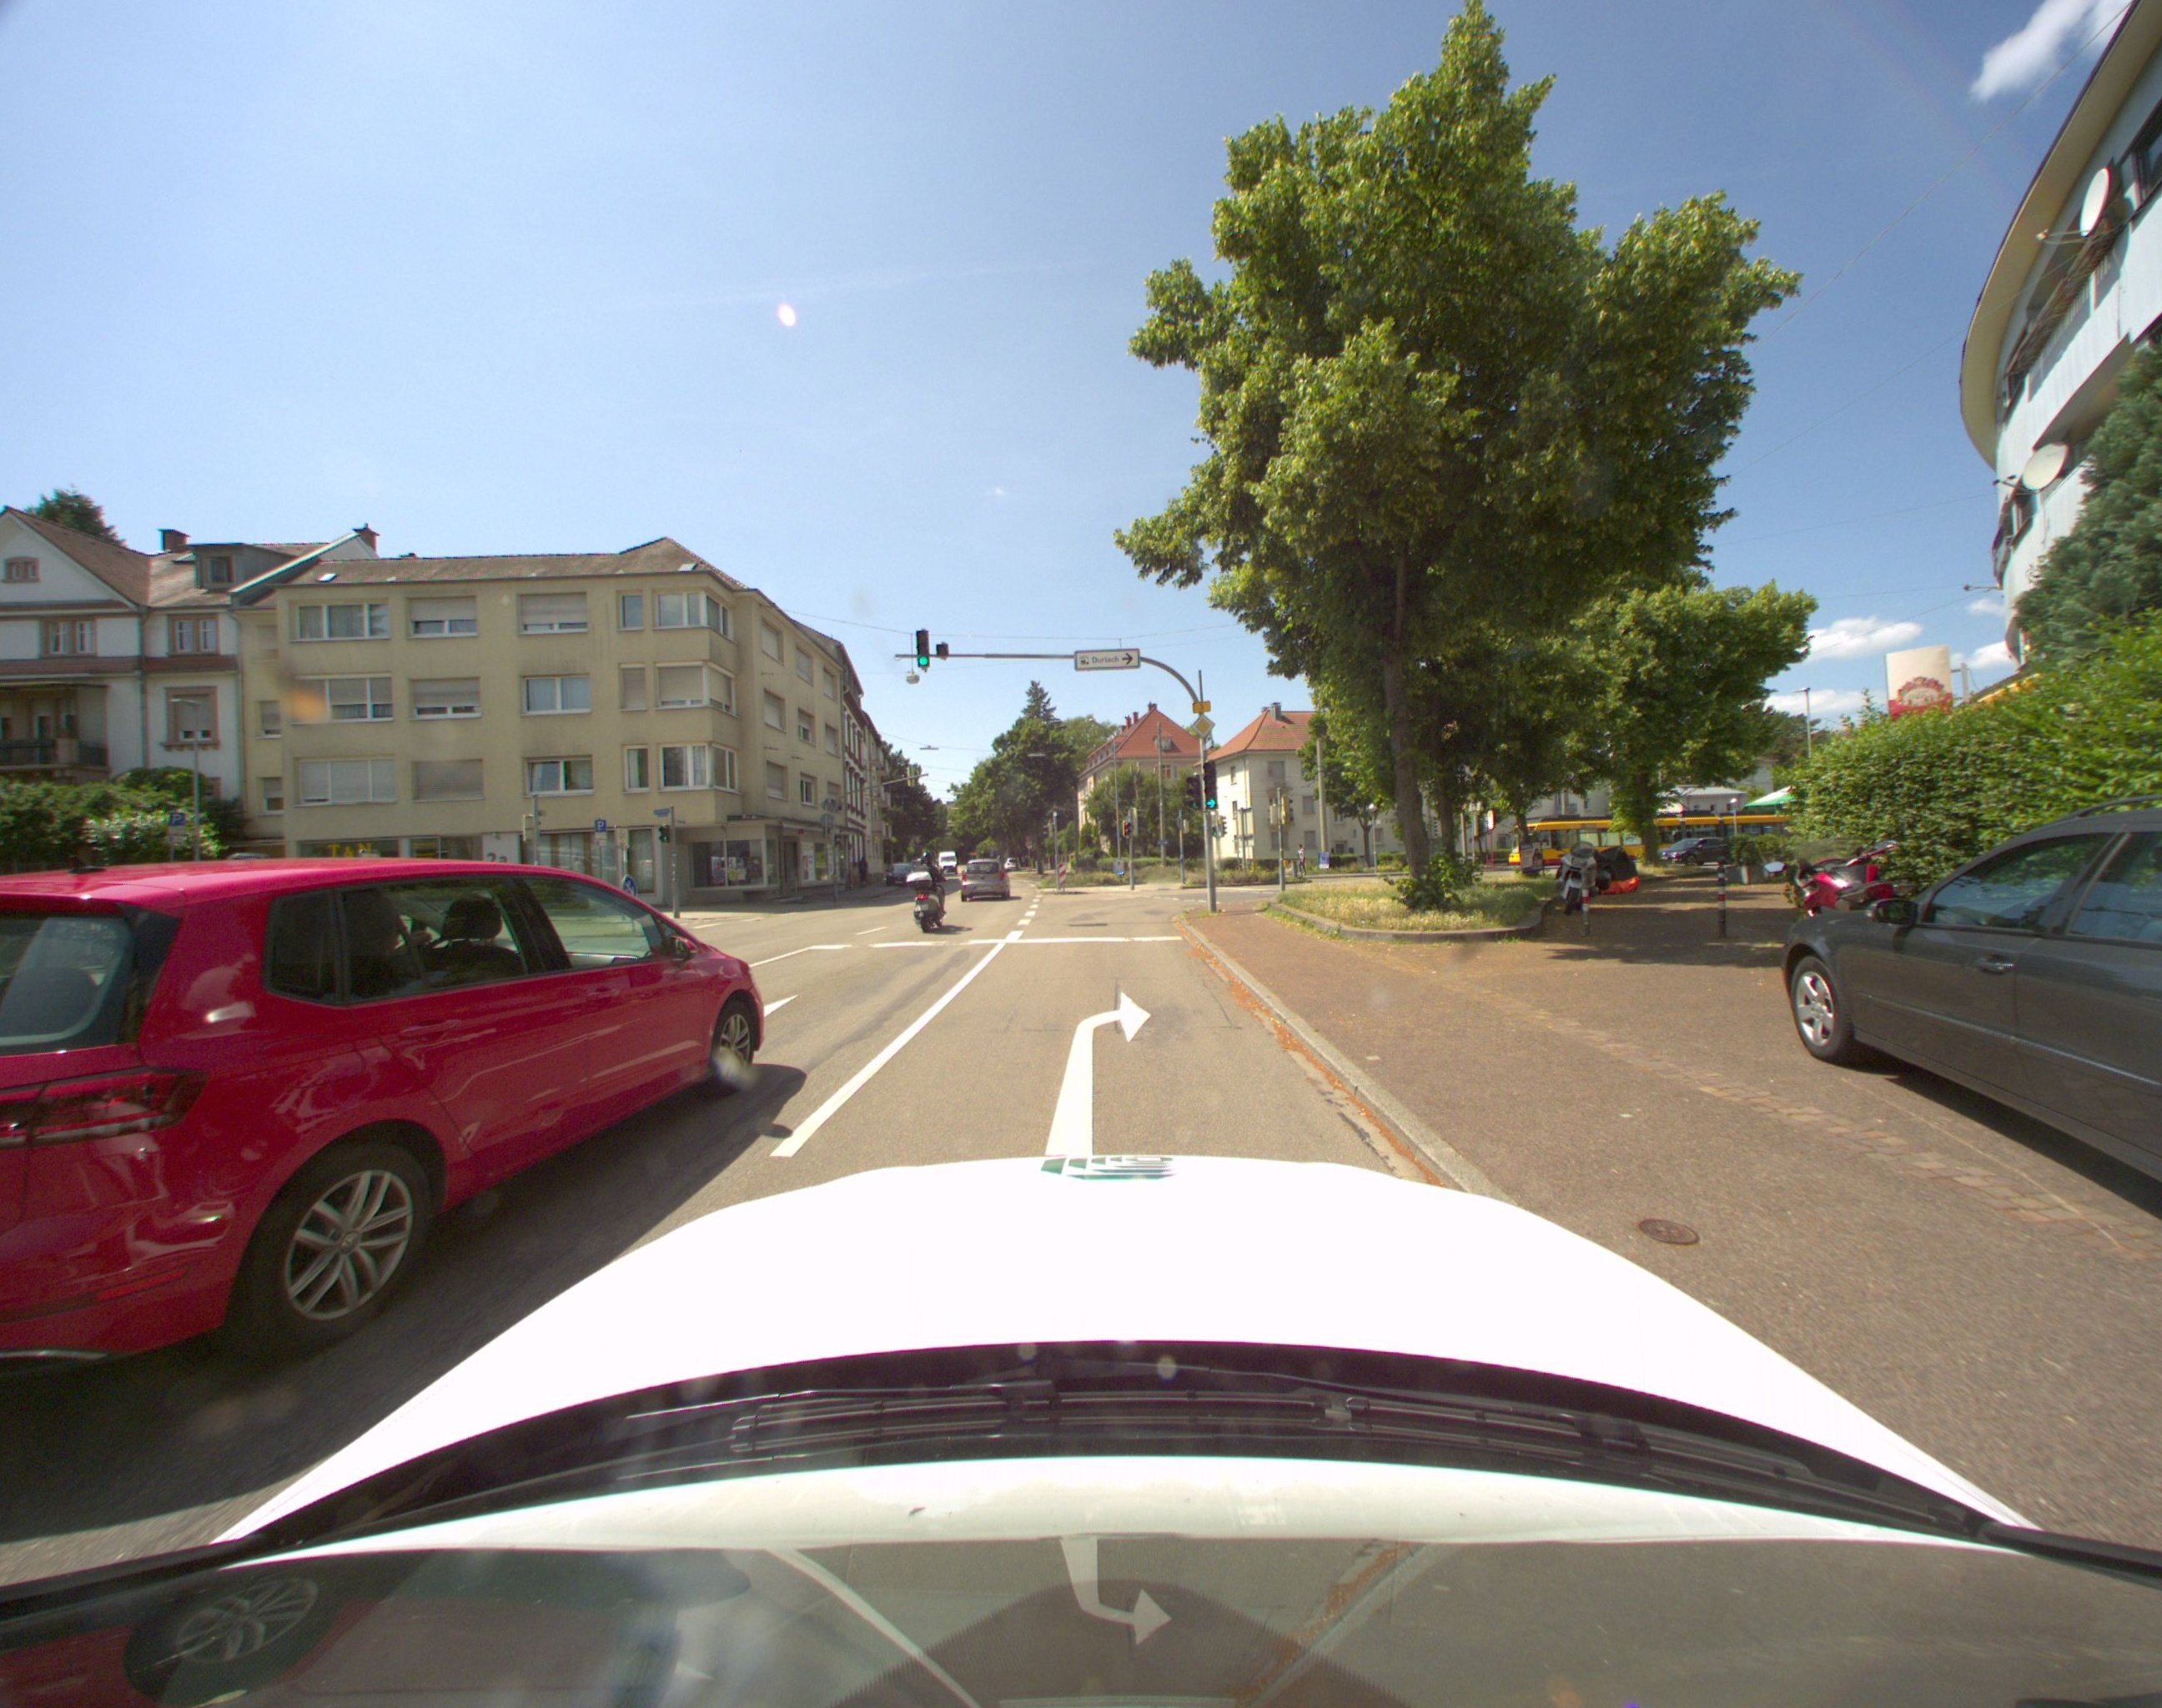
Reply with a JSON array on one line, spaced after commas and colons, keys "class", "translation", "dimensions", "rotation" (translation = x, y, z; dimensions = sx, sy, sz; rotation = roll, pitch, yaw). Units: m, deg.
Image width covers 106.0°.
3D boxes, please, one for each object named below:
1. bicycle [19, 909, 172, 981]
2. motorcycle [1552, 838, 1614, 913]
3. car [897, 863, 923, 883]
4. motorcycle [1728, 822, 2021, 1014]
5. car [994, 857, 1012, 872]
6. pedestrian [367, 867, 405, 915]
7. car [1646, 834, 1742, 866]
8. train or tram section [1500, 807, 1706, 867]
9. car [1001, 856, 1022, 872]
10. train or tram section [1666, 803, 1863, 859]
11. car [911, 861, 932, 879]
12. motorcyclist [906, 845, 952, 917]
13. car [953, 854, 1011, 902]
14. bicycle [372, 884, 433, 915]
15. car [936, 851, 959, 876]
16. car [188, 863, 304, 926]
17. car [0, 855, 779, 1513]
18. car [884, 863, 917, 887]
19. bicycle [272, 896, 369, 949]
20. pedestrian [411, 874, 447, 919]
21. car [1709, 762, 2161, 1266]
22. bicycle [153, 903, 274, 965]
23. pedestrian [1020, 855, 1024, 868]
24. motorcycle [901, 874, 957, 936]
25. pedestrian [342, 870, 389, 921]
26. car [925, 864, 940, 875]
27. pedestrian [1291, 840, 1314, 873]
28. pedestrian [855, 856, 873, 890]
[{"class": "bicycle", "translation": [-15.716, 1.417, 13.052], "dimensions": [0.396, 0.967, 1.717], "rotation": [-2, 0, -3]}, {"class": "motorcycle", "translation": [9.431, 0.375, 15.359], "dimensions": [0.906, 1.313, 2.239], "rotation": [-1, 0, 31]}, {"class": "car", "translation": [-14.138, 1.576, 67.431], "dimensions": [1.995, 1.510, 3.984], "rotation": [-2, -1, -11]}, {"class": "motorcycle", "translation": [6.346, 0.419, 6.738], "dimensions": [0.922, 1.302, 2.294], "rotation": [-3, 1, 23]}, {"class": "car", "translation": [-10.376, 1.379, 107.685], "dimensions": [1.994, 1.906, 3.985], "rotation": [-1, 0, -11]}, {"class": "pedestrian", "translation": [-24.012, 1.274, 28.142], "dimensions": [0.683, 1.632, 0.649], "rotation": [-2, -1, 2]}, {"class": "car", "translation": [32.521, -0.219, 43.195], "dimensions": [4.427, 1.500, 1.986], "rotation": [-2, -1, -21]}, {"class": "train or tram section", "translation": [35.698, -1.168, 55.659], "dimensions": [14.152, 3.568, 2.805], "rotation": [-2, -1, -14]}, {"class": "car", "translation": [-8.031, 1.180, 94.460], "dimensions": [1.994, 1.807, 3.985], "rotation": [-1, 0, -11]}, {"class": "train or tram section", "translation": [49.665, -1.672, 59.111], "dimensions": [14.676, 3.568, 2.781], "rotation": [-2, -1, -14]}, {"class": "car", "translation": [-16.312, 1.620, 83.687], "dimensions": [1.797, 1.718, 4.027], "rotation": [1, -1, -7]}, {"class": "motorcyclist", "translation": [-3.176, 0.546, 17.081], "dimensions": [0.708, 1.445, 1.019], "rotation": [-2, 0, 0]}, {"class": "car", "translation": [-3.566, 0.837, 29.950], "dimensions": [1.795, 1.558, 4.032], "rotation": [-2, 0, -4]}, {"class": "bicycle", "translation": [-24.226, 1.625, 29.096], "dimensions": [1.732, 1.027, 0.498], "rotation": [-2, 0, -1]}, {"class": "car", "translation": [-15.179, 1.065, 92.877], "dimensions": [2.215, 2.501, 7.533], "rotation": [-5, 0, -8]}, {"class": "car", "translation": [-25.044, 1.173, 24.376], "dimensions": [4.273, 1.664, 2.013], "rotation": [-2, -1, 39]}, {"class": "car", "translation": [-3.199, 0.815, 3.973], "dimensions": [1.792, 1.558, 4.039], "rotation": [-1, 0, 2]}, {"class": "car", "translation": [-11.956, 1.379, 54.119], "dimensions": [1.995, 1.519, 3.983], "rotation": [-1, -1, -12]}, {"class": "bicycle", "translation": [-15.863, 1.398, 17.041], "dimensions": [0.396, 0.967, 1.782], "rotation": [-2, 0, -3]}, {"class": "pedestrian", "translation": [-22.480, 1.462, 28.101], "dimensions": [0.683, 1.475, 0.649], "rotation": [-2, -1, 2]}, {"class": "car", "translation": [4.575, 0.412, 3.288], "dimensions": [1.818, 1.548, 5.184], "rotation": [-3, 1, 22]}, {"class": "bicycle", "translation": [-15.826, 1.435, 14.924], "dimensions": [0.396, 0.967, 1.744], "rotation": [-2, 0, -3]}, {"class": "pedestrian", "translation": [-7.623, 0.953, 104.973], "dimensions": [0.508, 1.656, 0.465], "rotation": [-1, 0, -6]}, {"class": "motorcycle", "translation": [-3.156, 1.027, 17.094], "dimensions": [0.708, 1.134, 2.197], "rotation": [-2, 0, 0]}, {"class": "pedestrian", "translation": [-24.028, 1.390, 27.356], "dimensions": [0.798, 1.632, 0.823], "rotation": [-2, -1, 2]}, {"class": "car", "translation": [-22.604, 2.378, 124.073], "dimensions": [1.796, 1.558, 4.030], "rotation": [1, -1, -5]}, {"class": "pedestrian", "translation": [11.765, 0.143, 43.337], "dimensions": [0.840, 1.705, 0.756], "rotation": [-2, -1, -26]}, {"class": "pedestrian", "translation": [-12.849, 1.128, 48.244], "dimensions": [0.935, 1.931, 0.973], "rotation": [-2, -1, -11]}]
